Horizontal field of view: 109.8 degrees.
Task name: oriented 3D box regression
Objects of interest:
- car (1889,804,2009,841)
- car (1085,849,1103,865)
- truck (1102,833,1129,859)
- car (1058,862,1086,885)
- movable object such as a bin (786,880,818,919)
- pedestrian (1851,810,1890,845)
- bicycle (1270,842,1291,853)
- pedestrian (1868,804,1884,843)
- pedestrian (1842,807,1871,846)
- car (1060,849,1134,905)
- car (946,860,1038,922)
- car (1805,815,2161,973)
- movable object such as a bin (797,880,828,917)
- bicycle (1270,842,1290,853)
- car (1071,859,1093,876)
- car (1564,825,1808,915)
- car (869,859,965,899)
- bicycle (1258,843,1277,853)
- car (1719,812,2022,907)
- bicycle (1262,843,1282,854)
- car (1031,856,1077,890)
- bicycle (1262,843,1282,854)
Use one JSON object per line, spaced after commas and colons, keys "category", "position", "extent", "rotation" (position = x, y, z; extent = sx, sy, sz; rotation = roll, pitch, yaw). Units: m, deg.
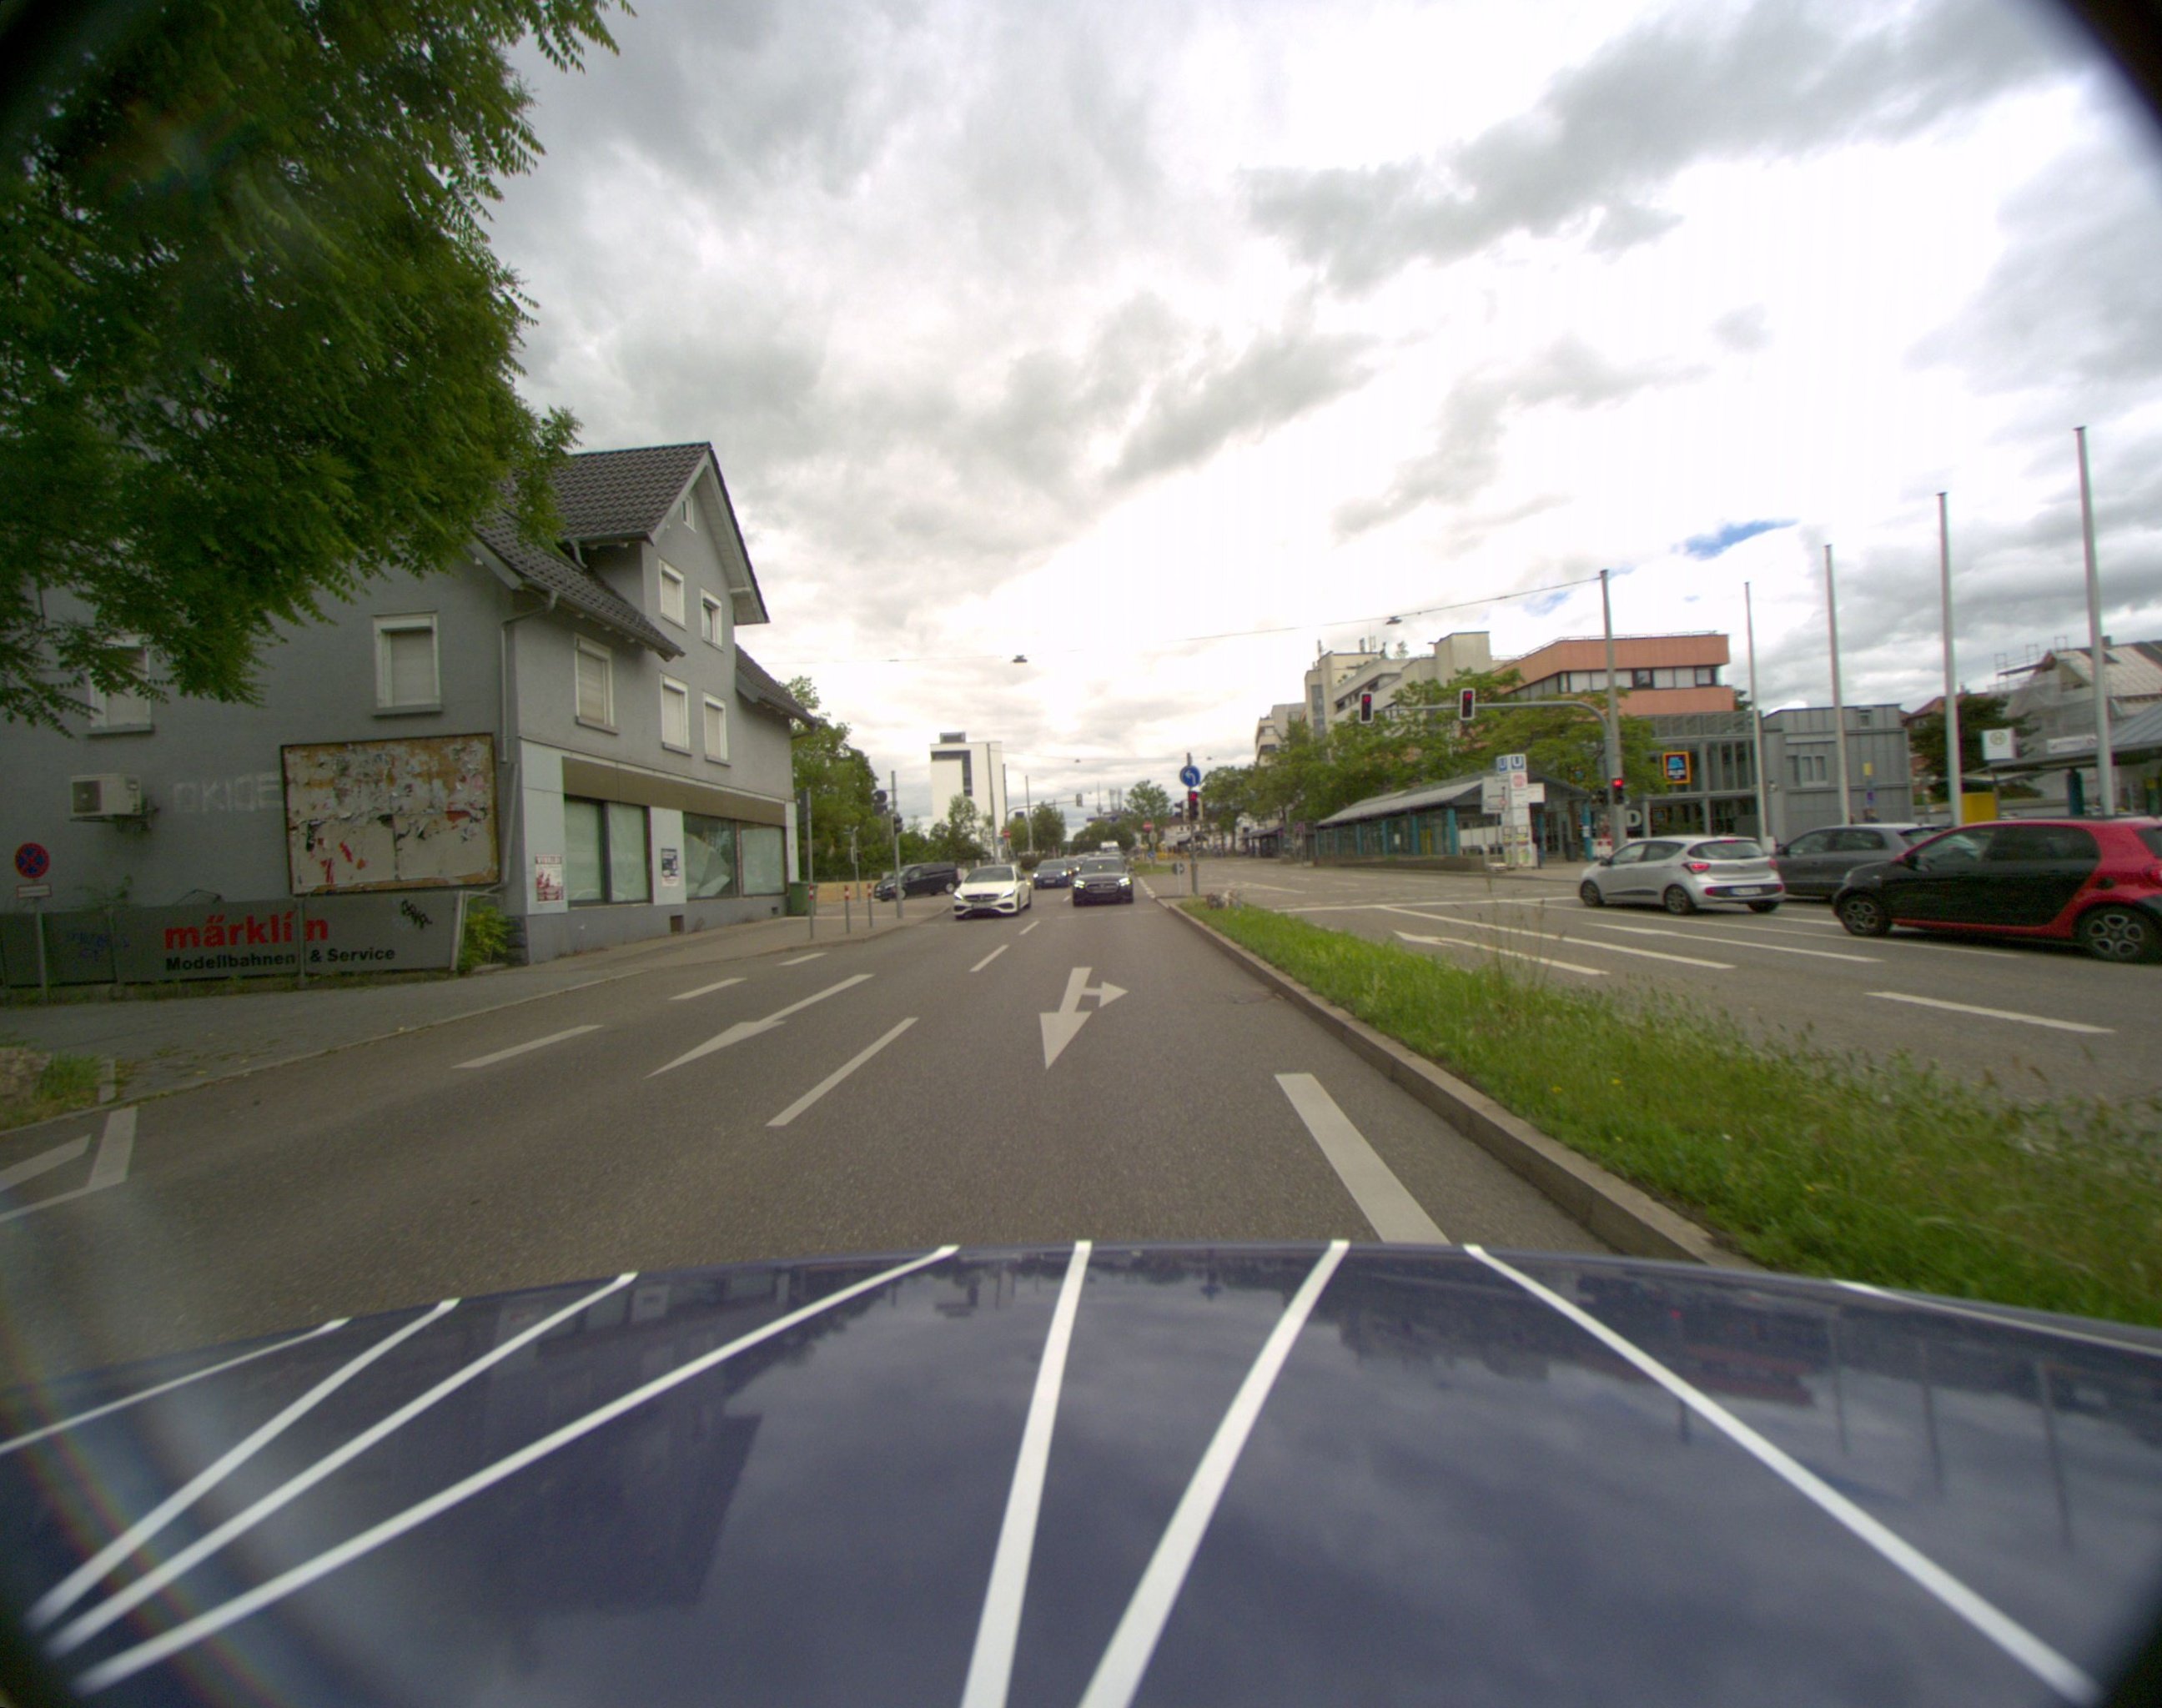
{"category": "car", "position": [44.876, -1.613, 39.330], "extent": [3.998, 1.587, 1.999], "rotation": [-3, 1, -2]}
{"category": "car", "position": [1.567, 0.331, 93.422], "extent": [2.020, 1.760, 4.000], "rotation": [-3, 0, 1]}
{"category": "truck", "position": [4.630, -1.033, 103.704], "extent": [3.119, 3.209, 6.523], "rotation": [-3, 0, -2]}
{"category": "car", "position": [-0.692, 1.341, 54.200], "extent": [1.769, 1.440, 4.419], "rotation": [-3, 1, -2]}
{"category": "movable object such as a bin", "position": [-8.400, 1.371, 22.895], "extent": [0.610, 1.098, 0.710], "rotation": [-3, 1, 2]}
{"category": "pedestrian", "position": [33.614, -1.111, 32.361], "extent": [0.591, 1.452, 0.992], "rotation": [-3, 1, 2]}
{"category": "bicycle", "position": [22.432, -0.744, 85.392], "extent": [2.206, 1.084, 0.542], "rotation": [-5, 1, -3]}
{"category": "pedestrian", "position": [31.816, -1.214, 30.413], "extent": [0.486, 1.539, 0.382], "rotation": [-4, 1, -42]}
{"category": "pedestrian", "position": [31.034, -1.097, 30.399], "extent": [0.531, 1.539, 0.752], "rotation": [-4, 1, -42]}
{"category": "car", "position": [0.652, 0.666, 25.005], "extent": [2.057, 1.477, 4.974], "rotation": [-5, 0, 4]}
{"category": "car", "position": [-2.488, 0.993, 22.496], "extent": [1.798, 1.464, 4.700], "rotation": [-3, 1, 4]}
{"category": "car", "position": [11.284, 0.349, 9.061], "extent": [1.663, 1.499, 3.768], "rotation": [-3, 1, 0]}
{"category": "movable object such as a bin", "position": [-8.414, 1.381, 23.797], "extent": [0.627, 1.098, 0.710], "rotation": [-3, 1, 2]}
{"category": "bicycle", "position": [22.537, -0.734, 86.190], "extent": [2.070, 1.132, 0.542], "rotation": [-5, 1, -3]}
{"category": "car", "position": [0.117, 1.267, 72.194], "extent": [1.798, 1.464, 4.311], "rotation": [-3, 1, 4]}
{"category": "car", "position": [11.671, 0.302, 15.043], "extent": [1.749, 1.456, 3.790], "rotation": [-3, 0, 0]}
{"category": "car", "position": [-9.158, 1.387, 42.671], "extent": [4.883, 1.877, 2.011], "rotation": [-4, 1, -45]}
{"category": "bicycle", "position": [22.251, -0.739, 90.521], "extent": [2.069, 1.084, 0.542], "rotation": [-4, 1, 2]}
{"category": "car", "position": [14.843, 0.066, 14.676], "extent": [1.819, 1.499, 4.000], "rotation": [-3, 1, 4]}
{"category": "bicycle", "position": [22.309, -0.665, 88.722], "extent": [2.069, 1.084, 0.542], "rotation": [-4, 1, 2]}
{"category": "car", "position": [-1.335, 0.912, 39.301], "extent": [1.798, 1.464, 4.311], "rotation": [-5, 0, 4]}
{"category": "bicycle", "position": [22.510, -0.638, 89.585], "extent": [2.069, 1.132, 0.542], "rotation": [-4, 1, 2]}
